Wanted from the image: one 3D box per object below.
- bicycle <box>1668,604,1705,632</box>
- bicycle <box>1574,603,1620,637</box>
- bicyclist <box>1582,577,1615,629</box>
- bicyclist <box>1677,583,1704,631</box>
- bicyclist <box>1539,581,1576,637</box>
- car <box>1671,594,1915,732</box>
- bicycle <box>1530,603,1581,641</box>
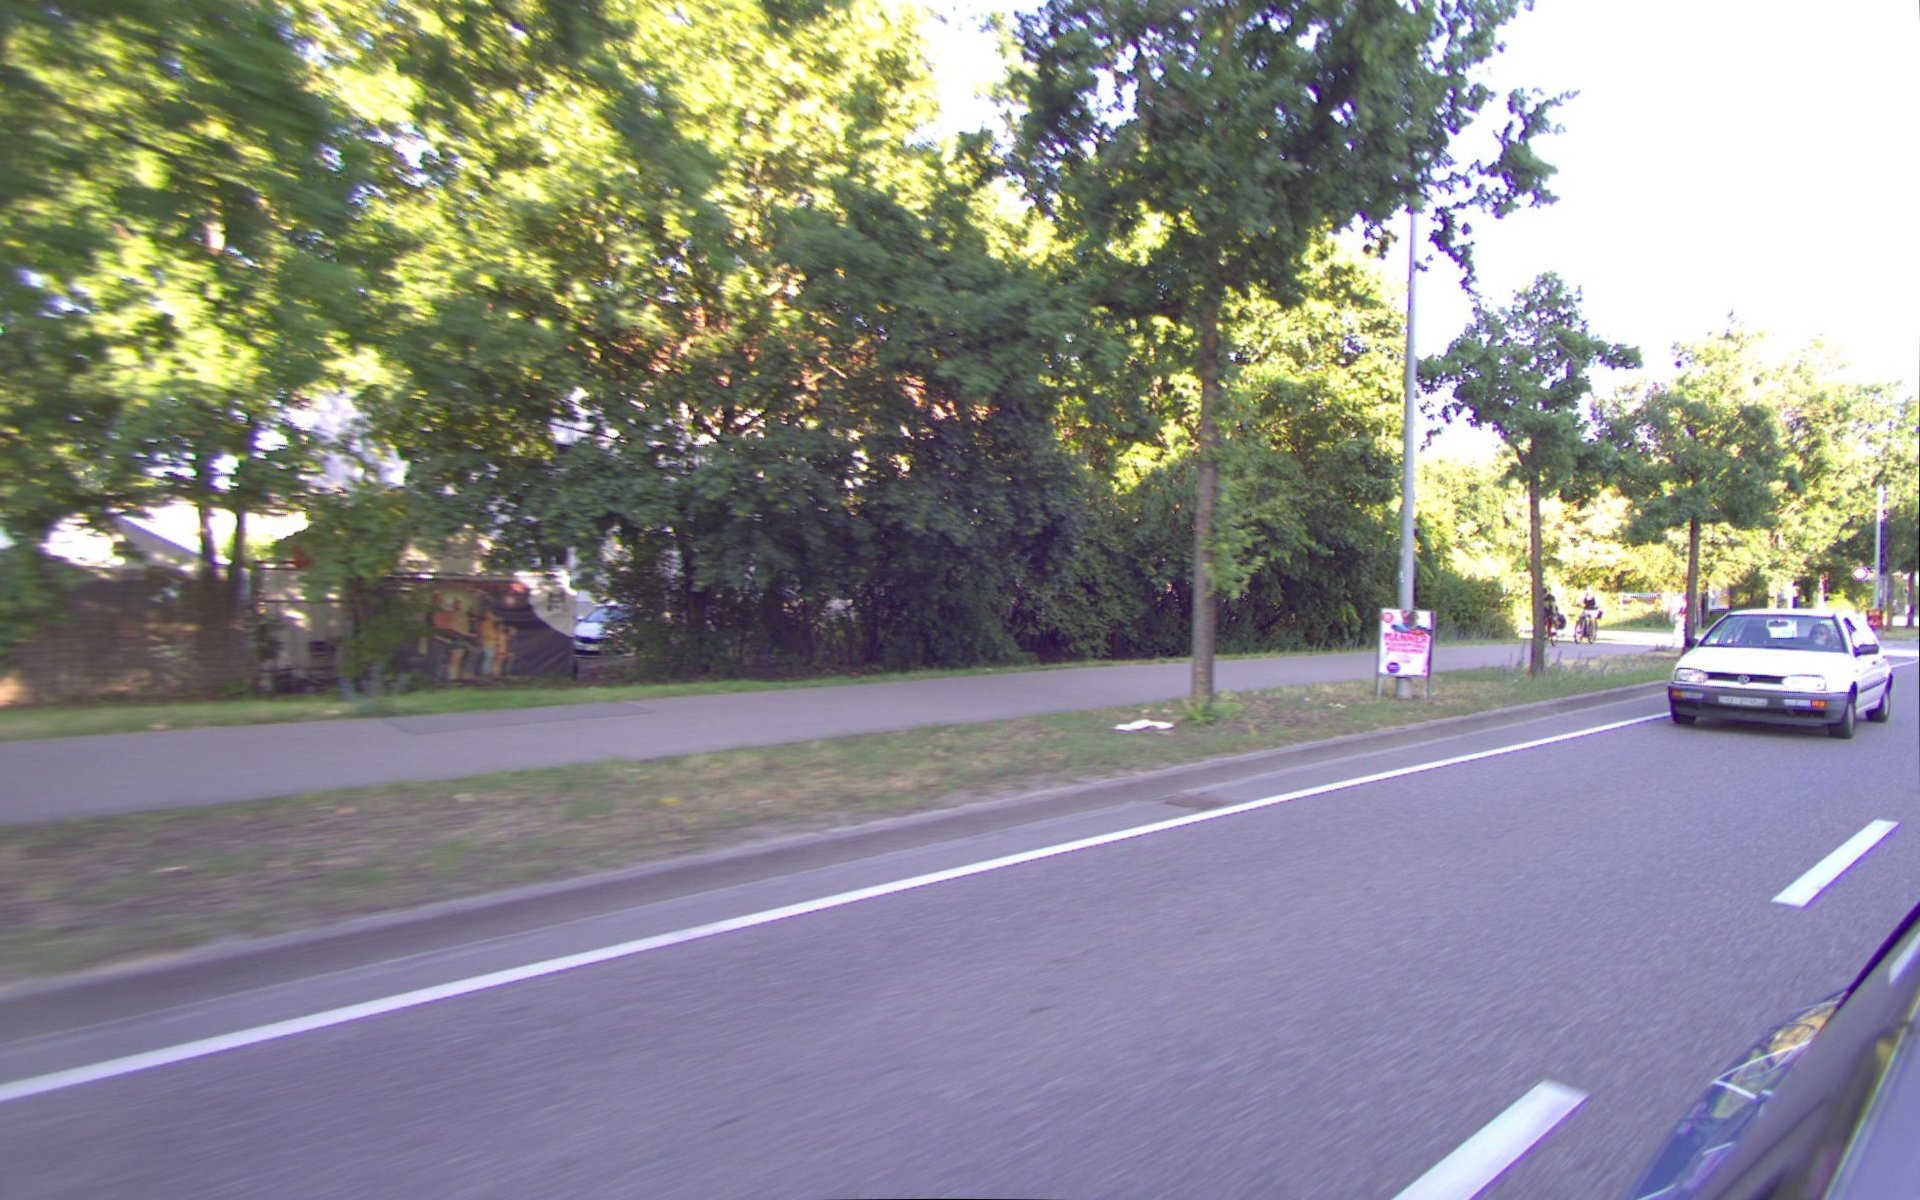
[{"bbox_3d":[27.095,0.663,37.734,2.022,0.986,0.618,0,1,-40],"label":"bicycle"},{"bbox_3d":[19.809,0.605,31.457,2.022,0.986,0.618,0,1,-40],"label":"bicycle"},{"bbox_3d":[19.884,0.089,31.509,0.833,1.598,0.604,0,1,-40],"label":"bicyclist"},{"bbox_3d":[27.473,0.257,38.043,0.833,1.755,0.604,0,1,-40],"label":"bicyclist"},{"bbox_3d":[16.516,0.230,27.967,0.833,1.520,0.614,0,1,-40],"label":"bicyclist"},{"bbox_3d":[10.314,0.678,12.432,3.966,1.416,1.614,1,0,-40],"label":"car"},{"bbox_3d":[16.426,0.595,27.902,1.789,0.986,0.618,0,1,-40],"label":"bicycle"}]
